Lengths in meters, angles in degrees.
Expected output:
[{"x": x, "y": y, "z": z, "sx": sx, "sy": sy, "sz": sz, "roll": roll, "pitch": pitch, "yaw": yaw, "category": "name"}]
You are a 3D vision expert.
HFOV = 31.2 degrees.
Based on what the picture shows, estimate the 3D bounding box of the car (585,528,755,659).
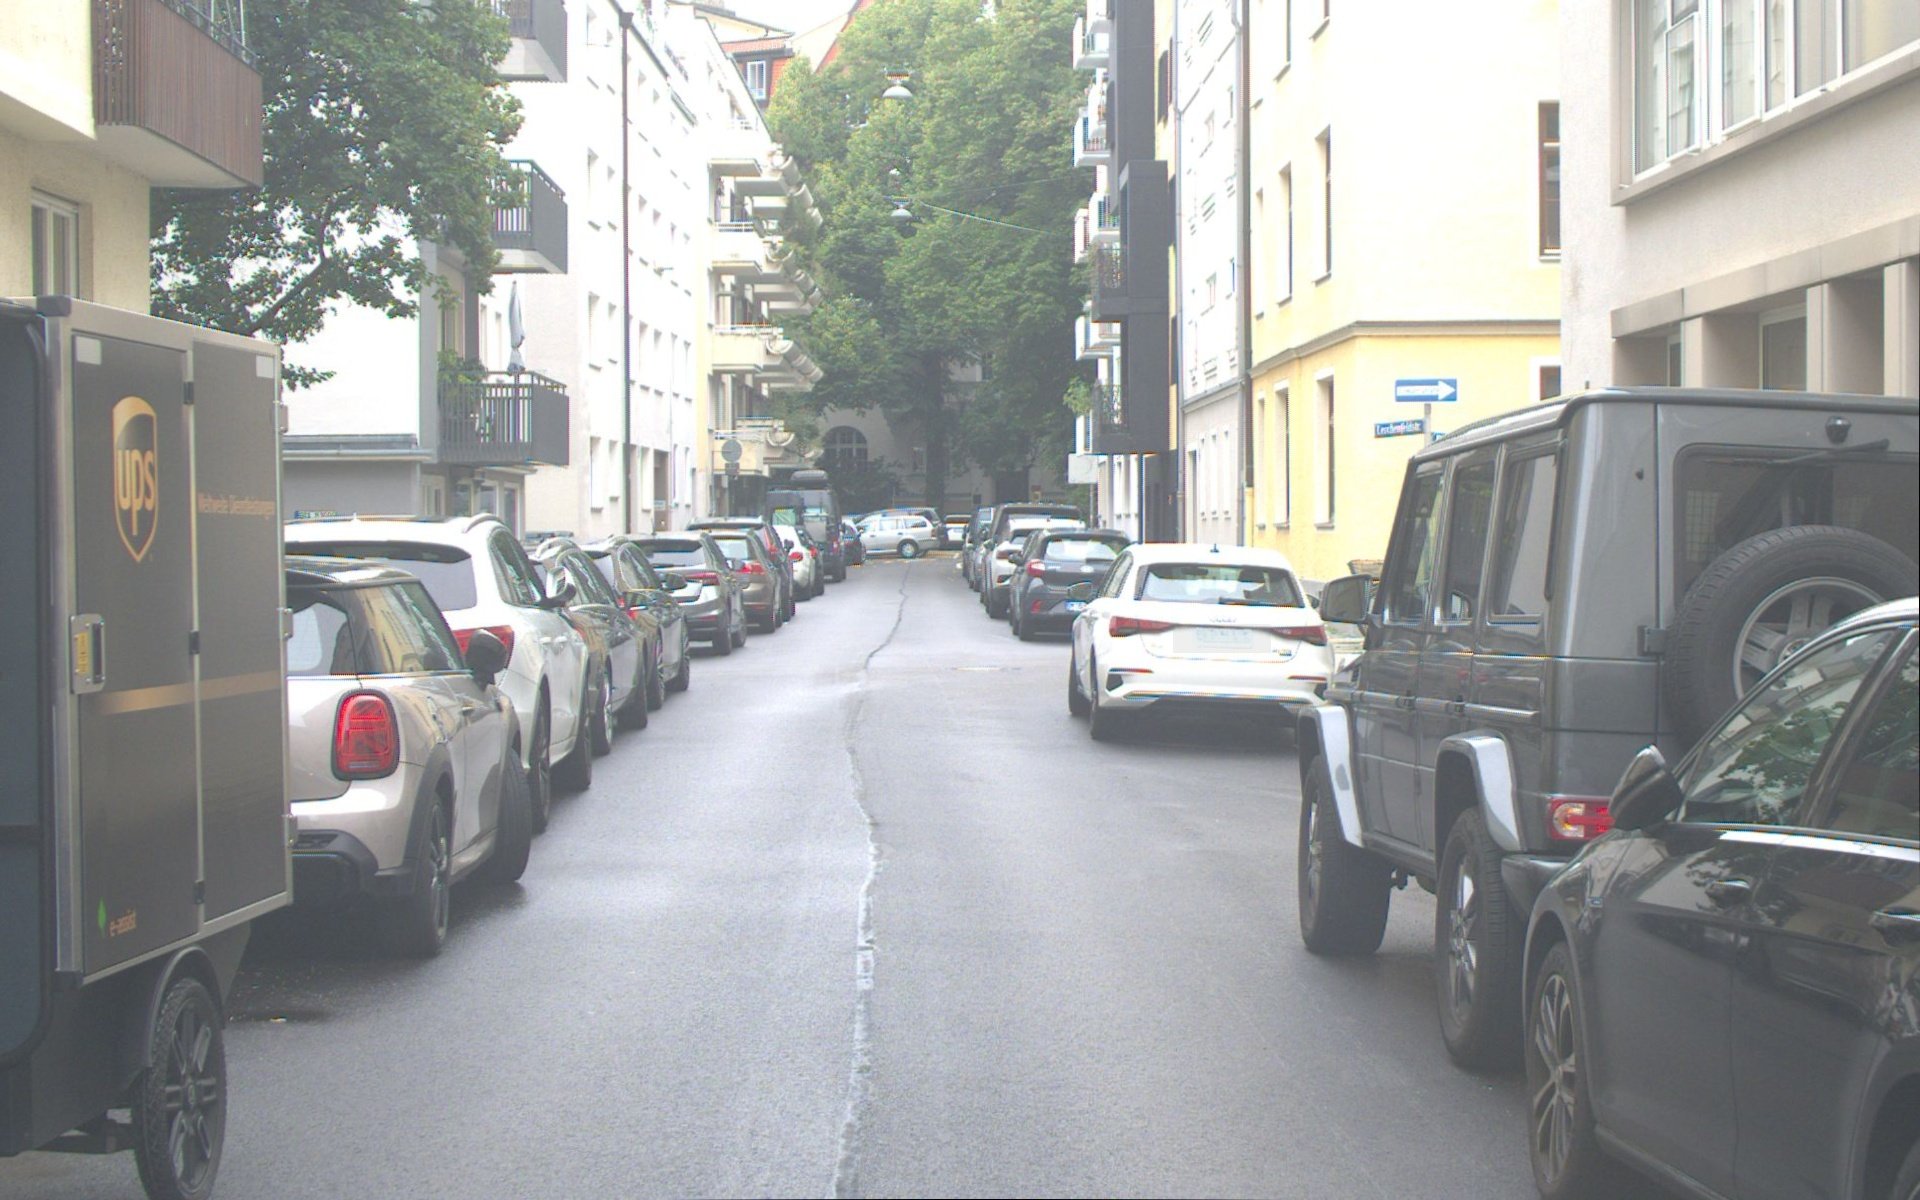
[{"x": -3.445, "y": -0.119, "z": 41.358, "sx": 1.693, "sy": 1.437, "sz": 3.942, "roll": -1, "pitch": 2, "yaw": 0, "category": "car"}]

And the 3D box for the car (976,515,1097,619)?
[{"x": 1.220, "y": -0.576, "z": 56.498, "sx": 1.682, "sy": 1.562, "sz": 4.416, "roll": 2, "pitch": 2, "yaw": -2, "category": "car"}]

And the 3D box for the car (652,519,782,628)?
[{"x": -3.415, "y": -0.409, "z": 48.836, "sx": 1.693, "sy": 1.437, "sz": 3.978, "roll": -1, "pitch": 2, "yaw": -2, "category": "car"}]

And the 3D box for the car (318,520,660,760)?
[{"x": -3.222, "y": 0.210, "z": 24.345, "sx": 1.766, "sy": 1.478, "sz": 4.424, "roll": -1, "pitch": 2, "yaw": 0, "category": "car"}]

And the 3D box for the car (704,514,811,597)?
[{"x": -3.959, "y": -0.910, "z": 67.734, "sx": 1.777, "sy": 1.482, "sz": 4.519, "roll": -3, "pitch": 2, "yaw": 0, "category": "car"}]

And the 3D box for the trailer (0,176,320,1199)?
[{"x": -2.342, "y": 0.293, "z": 7.015, "sx": 1.355, "sy": 2.108, "sz": 3.318, "roll": 0, "pitch": 1, "yaw": 2, "category": "trailer"}]

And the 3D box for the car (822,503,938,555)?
[{"x": -2.766, "y": -2.454, "z": 118.287, "sx": 3.885, "sy": 1.579, "sz": 1.648, "roll": -3, "pitch": 1, "yaw": -2, "category": "car"}]

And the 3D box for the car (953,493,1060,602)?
[{"x": 0.829, "y": -1.002, "z": 63.856, "sx": 1.829, "sy": 1.903, "sz": 4.416, "roll": 2, "pitch": 2, "yaw": -1, "category": "car"}]

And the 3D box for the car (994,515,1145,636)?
[{"x": 1.433, "y": -0.363, "z": 46.350, "sx": 1.751, "sy": 1.464, "sz": 4.343, "roll": 2, "pitch": 2, "yaw": -1, "category": "car"}]

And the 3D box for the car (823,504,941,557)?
[{"x": -2.650, "y": -2.355, "z": 116.387, "sx": 3.885, "sy": 1.579, "sz": 1.648, "roll": -3, "pitch": 1, "yaw": -2, "category": "car"}]

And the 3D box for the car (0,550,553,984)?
[{"x": -2.644, "y": 0.539, "z": 13.518, "sx": 1.652, "sy": 1.431, "sz": 3.803, "roll": -1, "pitch": 1, "yaw": -1, "category": "car"}]

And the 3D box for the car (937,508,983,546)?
[{"x": -0.015, "y": -2.828, "z": 133.234, "sx": 1.642, "sy": 1.379, "sz": 3.746, "roll": -3, "pitch": 2, "yaw": -1, "category": "car"}]

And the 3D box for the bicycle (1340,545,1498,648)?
[{"x": 5.510, "y": -0.045, "z": 41.311, "sx": 1.808, "sy": 1.170, "sz": 0.505, "roll": -2, "pitch": 3, "yaw": -2, "category": "bicycle"}]

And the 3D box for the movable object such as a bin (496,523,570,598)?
[{"x": -7.957, "y": -0.736, "z": 64.159, "sx": 1.166, "sy": 1.332, "sz": 1.025, "roll": -2, "pitch": 1, "yaw": 2, "category": "movable object such as a bin"}]

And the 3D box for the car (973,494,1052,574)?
[{"x": 1.353, "y": -1.757, "z": 90.739, "sx": 1.829, "sy": 1.992, "sz": 4.416, "roll": 3, "pitch": 1, "yaw": -1, "category": "car"}]

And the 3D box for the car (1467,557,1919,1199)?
[{"x": 2.247, "y": 0.679, "z": 6.501, "sx": 1.711, "sy": 1.481, "sz": 4.245, "roll": 1, "pitch": 1, "yaw": -3, "category": "car"}]

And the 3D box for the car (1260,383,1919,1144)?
[{"x": 2.193, "y": 0.382, "z": 11.230, "sx": 1.750, "sy": 1.968, "sz": 4.344, "roll": 2, "pitch": 2, "yaw": -3, "category": "car"}]

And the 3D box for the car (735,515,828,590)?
[{"x": -3.776, "y": -1.030, "z": 73.130, "sx": 1.776, "sy": 1.448, "sz": 4.046, "roll": -3, "pitch": 2, "yaw": -1, "category": "car"}]

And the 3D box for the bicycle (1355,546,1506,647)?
[{"x": 5.577, "y": -0.041, "z": 40.776, "sx": 1.713, "sy": 1.135, "sz": 0.374, "roll": -1, "pitch": 3, "yaw": -1, "category": "bicycle"}]

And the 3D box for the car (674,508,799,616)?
[{"x": -3.527, "y": -0.639, "z": 54.890, "sx": 1.776, "sy": 1.623, "sz": 4.415, "roll": -1, "pitch": 2, "yaw": -1, "category": "car"}]

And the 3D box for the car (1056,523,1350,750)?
[{"x": 1.773, "y": 0.213, "z": 26.263, "sx": 1.819, "sy": 1.403, "sz": 3.953, "roll": 1, "pitch": 4, "yaw": -2, "category": "car"}]

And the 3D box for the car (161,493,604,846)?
[{"x": -2.998, "y": 0.294, "z": 18.690, "sx": 1.765, "sy": 1.669, "sz": 4.368, "roll": -1, "pitch": 1, "yaw": -2, "category": "car"}]

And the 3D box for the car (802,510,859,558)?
[{"x": -3.997, "y": -2.041, "z": 106.366, "sx": 1.642, "sy": 1.379, "sz": 3.483, "roll": -3, "pitch": 2, "yaw": -1, "category": "car"}]

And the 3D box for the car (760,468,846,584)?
[{"x": -3.984, "y": -1.899, "z": 87.745, "sx": 1.936, "sy": 2.792, "sz": 4.533, "roll": -3, "pitch": 2, "yaw": -1, "category": "car"}]
